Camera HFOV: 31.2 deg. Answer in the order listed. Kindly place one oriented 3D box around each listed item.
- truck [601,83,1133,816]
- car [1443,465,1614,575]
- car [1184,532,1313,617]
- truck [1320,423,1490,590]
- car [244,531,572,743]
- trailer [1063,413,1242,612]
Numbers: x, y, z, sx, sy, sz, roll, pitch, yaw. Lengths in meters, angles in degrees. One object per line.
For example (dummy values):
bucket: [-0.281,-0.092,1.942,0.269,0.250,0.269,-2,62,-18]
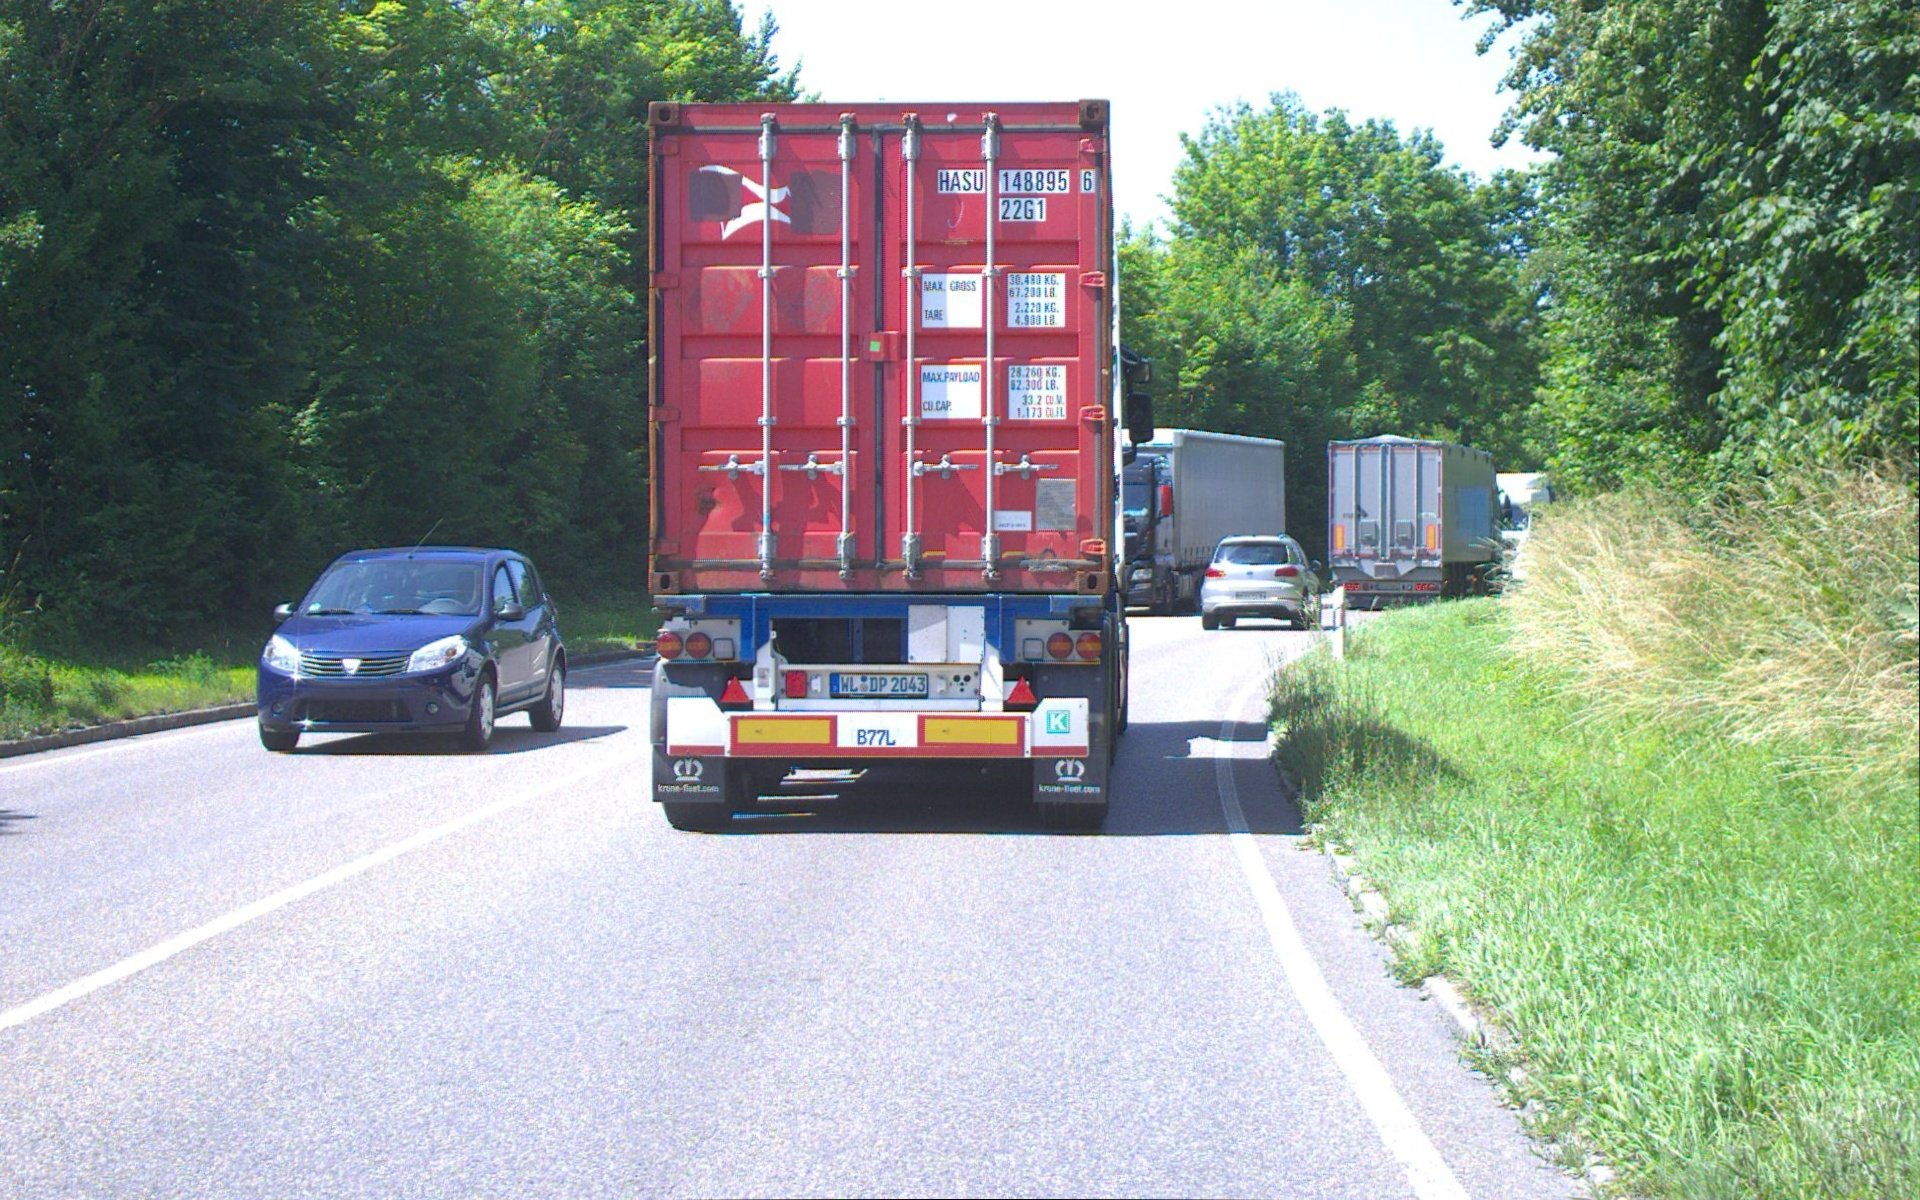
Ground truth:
truck: [-0.153,-0.860,24.541,2.648,3.793,13.358,1,1,3]
car: [21.302,-2.957,128.007,3.269,3.860,12.730,0,1,24]
car: [5.216,-0.457,61.750,1.833,1.428,3.998,-2,0,11]
truck: [10.918,-2.192,83.159,2.923,3.704,13.352,0,1,12]
car: [-4.234,0.233,26.971,1.683,1.524,4.070,0,1,4]
trailer: [4.519,-1.907,78.162,2.923,4.168,11.260,1,1,9]
